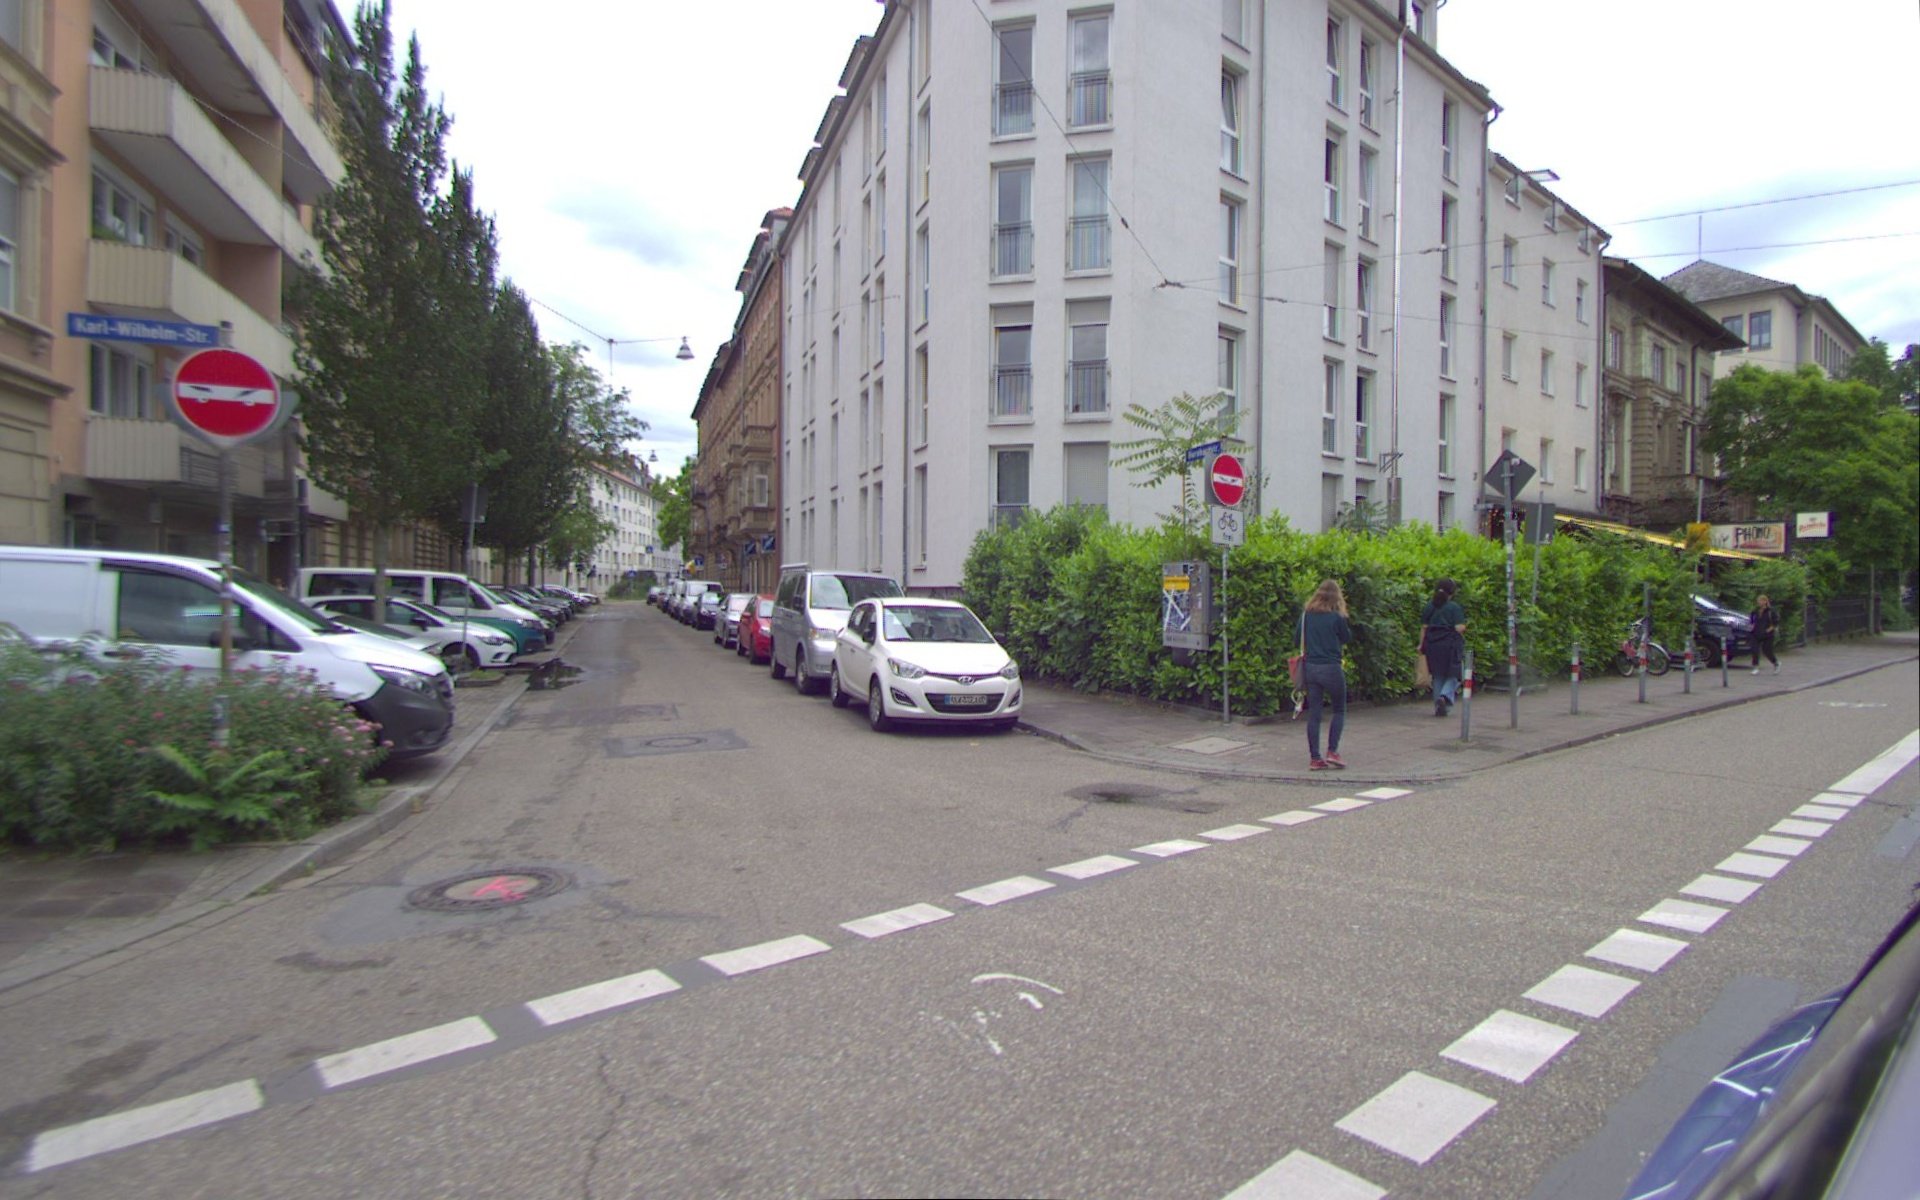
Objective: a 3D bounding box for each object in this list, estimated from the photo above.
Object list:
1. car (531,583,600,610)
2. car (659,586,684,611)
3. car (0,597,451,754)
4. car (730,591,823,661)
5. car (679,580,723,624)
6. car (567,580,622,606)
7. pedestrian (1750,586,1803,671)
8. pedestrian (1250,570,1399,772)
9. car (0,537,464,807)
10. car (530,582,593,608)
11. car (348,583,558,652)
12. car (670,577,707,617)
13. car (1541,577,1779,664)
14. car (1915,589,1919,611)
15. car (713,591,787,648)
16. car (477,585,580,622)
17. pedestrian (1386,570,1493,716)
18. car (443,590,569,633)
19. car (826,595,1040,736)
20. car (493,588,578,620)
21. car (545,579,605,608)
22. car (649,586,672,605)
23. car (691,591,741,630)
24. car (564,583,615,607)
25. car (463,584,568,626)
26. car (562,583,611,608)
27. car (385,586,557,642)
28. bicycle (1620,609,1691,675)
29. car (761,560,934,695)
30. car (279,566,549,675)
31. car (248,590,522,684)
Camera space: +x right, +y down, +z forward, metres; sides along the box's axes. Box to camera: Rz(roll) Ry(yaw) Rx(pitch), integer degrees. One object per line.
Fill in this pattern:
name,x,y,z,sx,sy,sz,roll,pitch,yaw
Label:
car,-25.122,-0.240,64.594,3.916,1.727,1.923,0,0,-15
car,-17.622,-0.114,61.697,1.438,1.480,3.498,0,0,-17
car,-7.492,0.716,10.478,3.918,1.383,1.703,2,0,-27
car,-4.301,0.539,23.310,1.534,1.471,3.831,1,0,-19
car,-11.537,0.060,44.881,1.603,1.813,4.579,0,1,-18
car,-28.659,-0.531,79.463,3.916,2.039,2.004,0,0,-15
pedestrian,16.936,0.569,20.986,0.943,1.691,0.624,0,3,-41
pedestrian,3.224,0.584,8.988,0.890,1.677,0.877,0,0,-26
car,-6.796,0.502,8.265,4.925,1.901,2.062,0,0,-26
car,-28.109,-0.336,71.453,3.916,1.793,1.927,0,0,-15
car,-12.748,0.403,25.764,4.505,1.631,2.004,0,0,-17
car,-13.808,-0.159,51.354,1.592,1.921,3.705,0,0,-18
car,16.396,0.397,23.903,1.790,1.832,4.292,0,1,-38
car,73.121,0.024,74.076,4.285,1.571,1.733,1,0,28
car,-5.890,0.489,28.066,1.580,1.466,3.830,0,0,-18
car,-19.822,0.136,46.614,4.143,1.631,1.715,0,0,-14
pedestrian,5.710,0.477,12.075,0.819,1.656,0.797,-1,2,-25
car,-16.077,0.379,36.002,3.916,1.460,1.610,0,0,-16
car,-0.499,0.684,12.581,1.636,1.449,3.829,1,0,-18
car,-20.223,0.162,48.303,3.592,1.501,1.456,0,0,-15
car,-28.036,-0.480,73.774,3.916,2.039,2.004,0,0,-15
car,-25.983,-0.420,87.677,1.860,1.631,4.510,0,1,-18
car,-9.465,0.356,39.079,1.653,1.414,3.763,0,0,-17
car,-31.784,-0.410,86.850,3.916,2.039,2.004,0,0,-15
car,-17.543,0.181,40.097,3.630,1.618,1.610,0,0,-18
car,-30.986,-0.393,84.033,3.712,2.039,1.796,0,0,-16
car,-14.357,0.391,29.961,4.318,1.572,1.907,0,0,-16
bicycle,12.989,0.766,18.887,1.780,1.142,0.634,1,2,-41
car,-2.074,0.388,17.188,1.935,1.963,4.755,1,0,-18
car,-11.166,0.346,21.113,4.689,2.070,1.899,-1,1,-19
car,-10.500,0.625,18.838,4.126,1.539,1.778,-1,1,-17
